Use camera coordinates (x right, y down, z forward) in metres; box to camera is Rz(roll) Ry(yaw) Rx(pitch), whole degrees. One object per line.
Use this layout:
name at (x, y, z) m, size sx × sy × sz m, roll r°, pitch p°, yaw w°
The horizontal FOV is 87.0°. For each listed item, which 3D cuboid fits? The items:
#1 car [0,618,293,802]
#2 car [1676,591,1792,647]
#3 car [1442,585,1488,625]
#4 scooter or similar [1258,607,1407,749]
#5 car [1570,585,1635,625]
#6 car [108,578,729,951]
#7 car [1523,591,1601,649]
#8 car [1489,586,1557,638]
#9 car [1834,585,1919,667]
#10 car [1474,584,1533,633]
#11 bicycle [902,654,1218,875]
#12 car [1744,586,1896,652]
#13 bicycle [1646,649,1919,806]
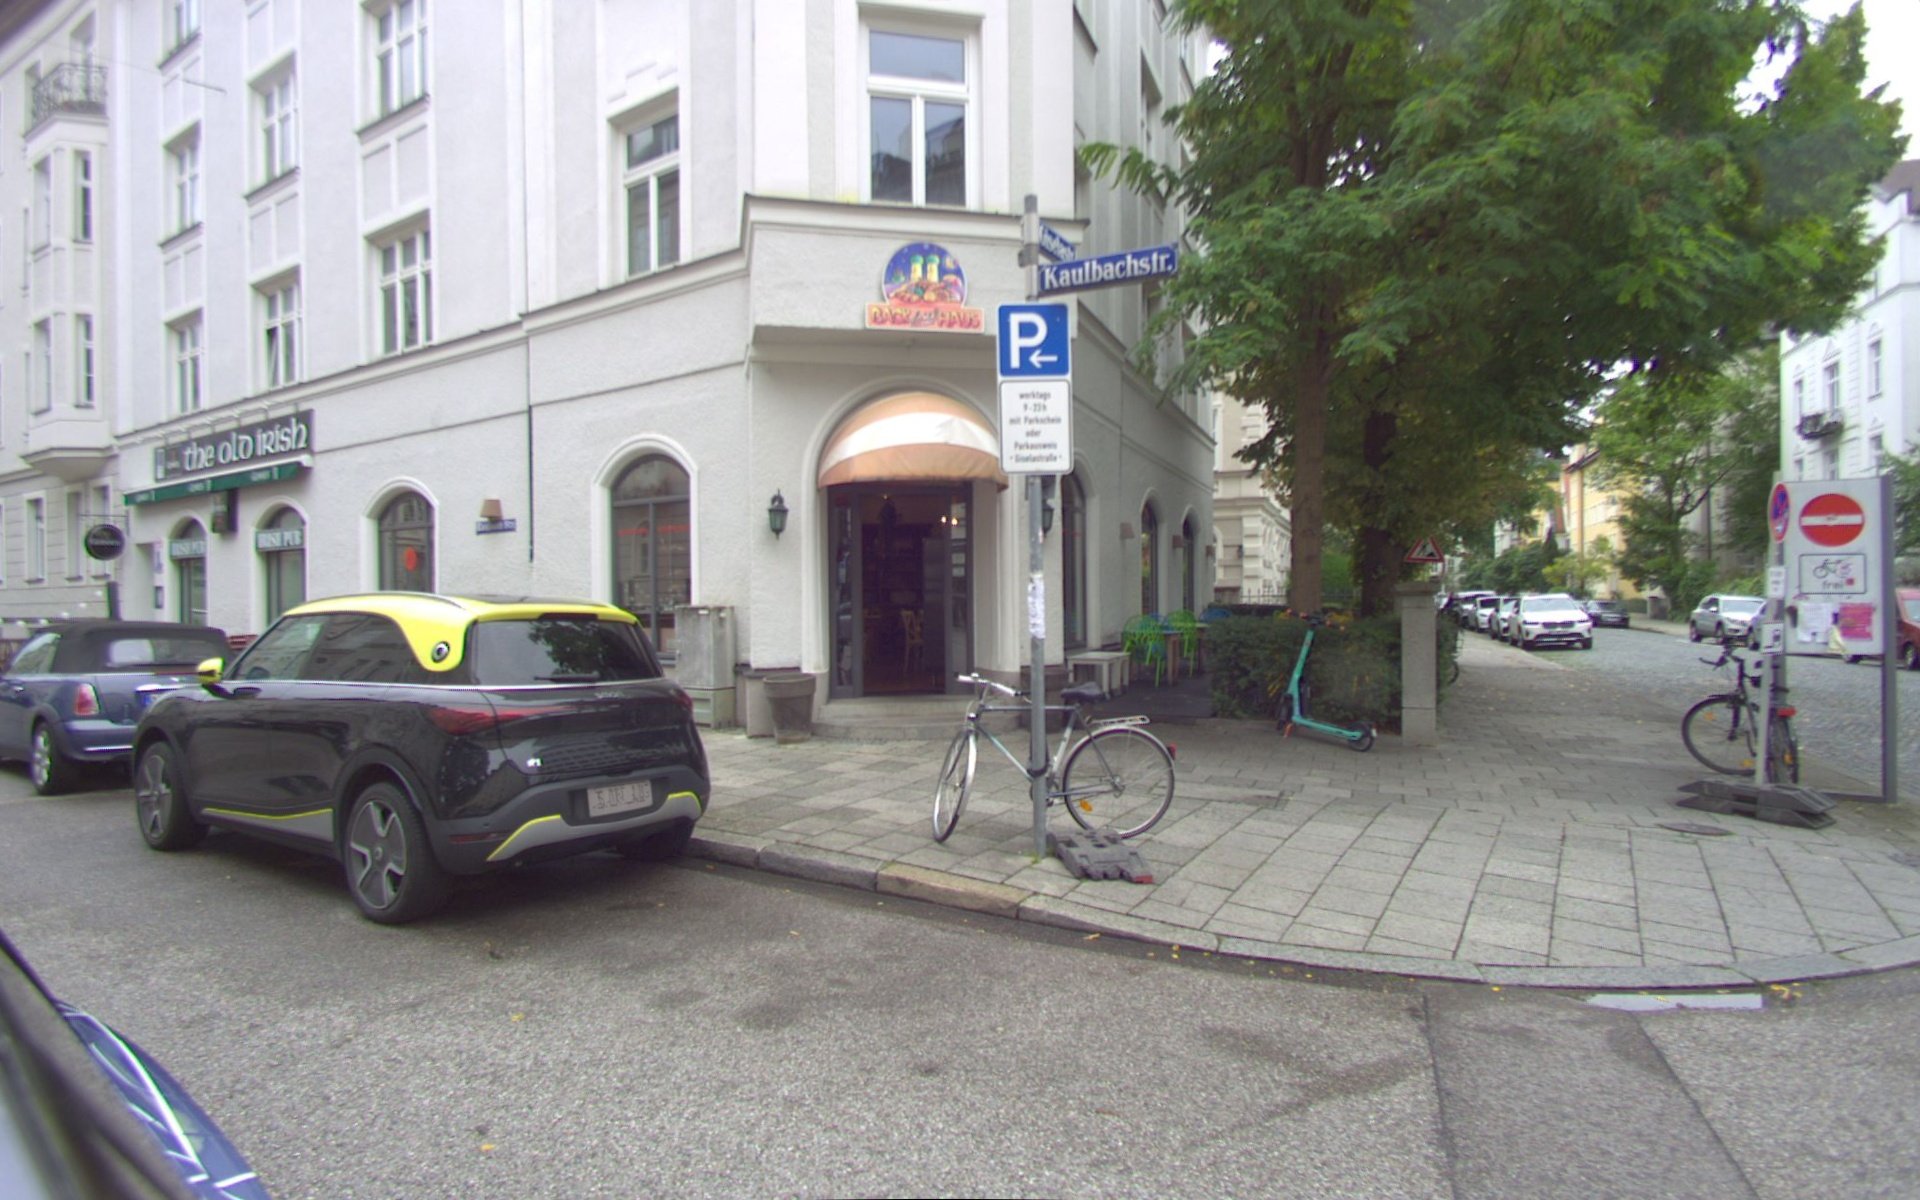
car at (-8.145, 0.879, 9.619) m, size 3.991 × 1.401 × 1.692 m, roll -1°, pitch -2°, yaw 36°
car at (25.043, 0.591, 32.931) m, size 1.900 × 1.620 × 4.107 m, roll -3°, pitch -1°, yaw 22°
car at (26.820, 0.266, 53.837) m, size 1.988 × 2.029 × 3.967 m, roll -1°, pitch 0°, yaw 25°
scooter or similar at (3.490, 0.691, 9.524) m, size 0.548 × 1.225 × 1.188 m, roll -3°, pitch 2°, yaw -45°
car at (33.507, 0.260, 52.877) m, size 1.985 × 2.029 × 3.974 m, roll -1°, pitch 0°, yaw 20°
car at (-3.417, 0.739, 6.176) m, size 3.934 × 1.609 × 1.663 m, roll 0°, pitch -2°, yaw 33°
car at (18.544, 0.586, 31.157) m, size 1.906 × 1.620 × 4.094 m, roll 1°, pitch 0°, yaw 31°
car at (20.938, 0.441, 37.780) m, size 1.836 × 1.785 × 3.966 m, roll -3°, pitch -1°, yaw 25°
car at (20.748, 0.503, 21.608) m, size 1.900 × 1.620 × 4.107 m, roll -1°, pitch 0°, yaw 22°
car at (23.834, 0.351, 44.471) m, size 1.988 × 2.029 × 3.967 m, roll -1°, pitch 0°, yaw 25°
bicycle at (0.571, 0.873, 5.738) m, size 1.638 × 1.053 × 0.896 m, roll -1°, pitch 2°, yaw 9°
car at (23.051, 0.476, 27.328) m, size 1.900 × 1.620 × 4.107 m, roll -1°, pitch 0°, yaw 22°
bicycle at (6.202, 0.916, 7.770) m, size 0.888 × 0.954 × 1.561 m, roll 1°, pitch 1°, yaw 6°
